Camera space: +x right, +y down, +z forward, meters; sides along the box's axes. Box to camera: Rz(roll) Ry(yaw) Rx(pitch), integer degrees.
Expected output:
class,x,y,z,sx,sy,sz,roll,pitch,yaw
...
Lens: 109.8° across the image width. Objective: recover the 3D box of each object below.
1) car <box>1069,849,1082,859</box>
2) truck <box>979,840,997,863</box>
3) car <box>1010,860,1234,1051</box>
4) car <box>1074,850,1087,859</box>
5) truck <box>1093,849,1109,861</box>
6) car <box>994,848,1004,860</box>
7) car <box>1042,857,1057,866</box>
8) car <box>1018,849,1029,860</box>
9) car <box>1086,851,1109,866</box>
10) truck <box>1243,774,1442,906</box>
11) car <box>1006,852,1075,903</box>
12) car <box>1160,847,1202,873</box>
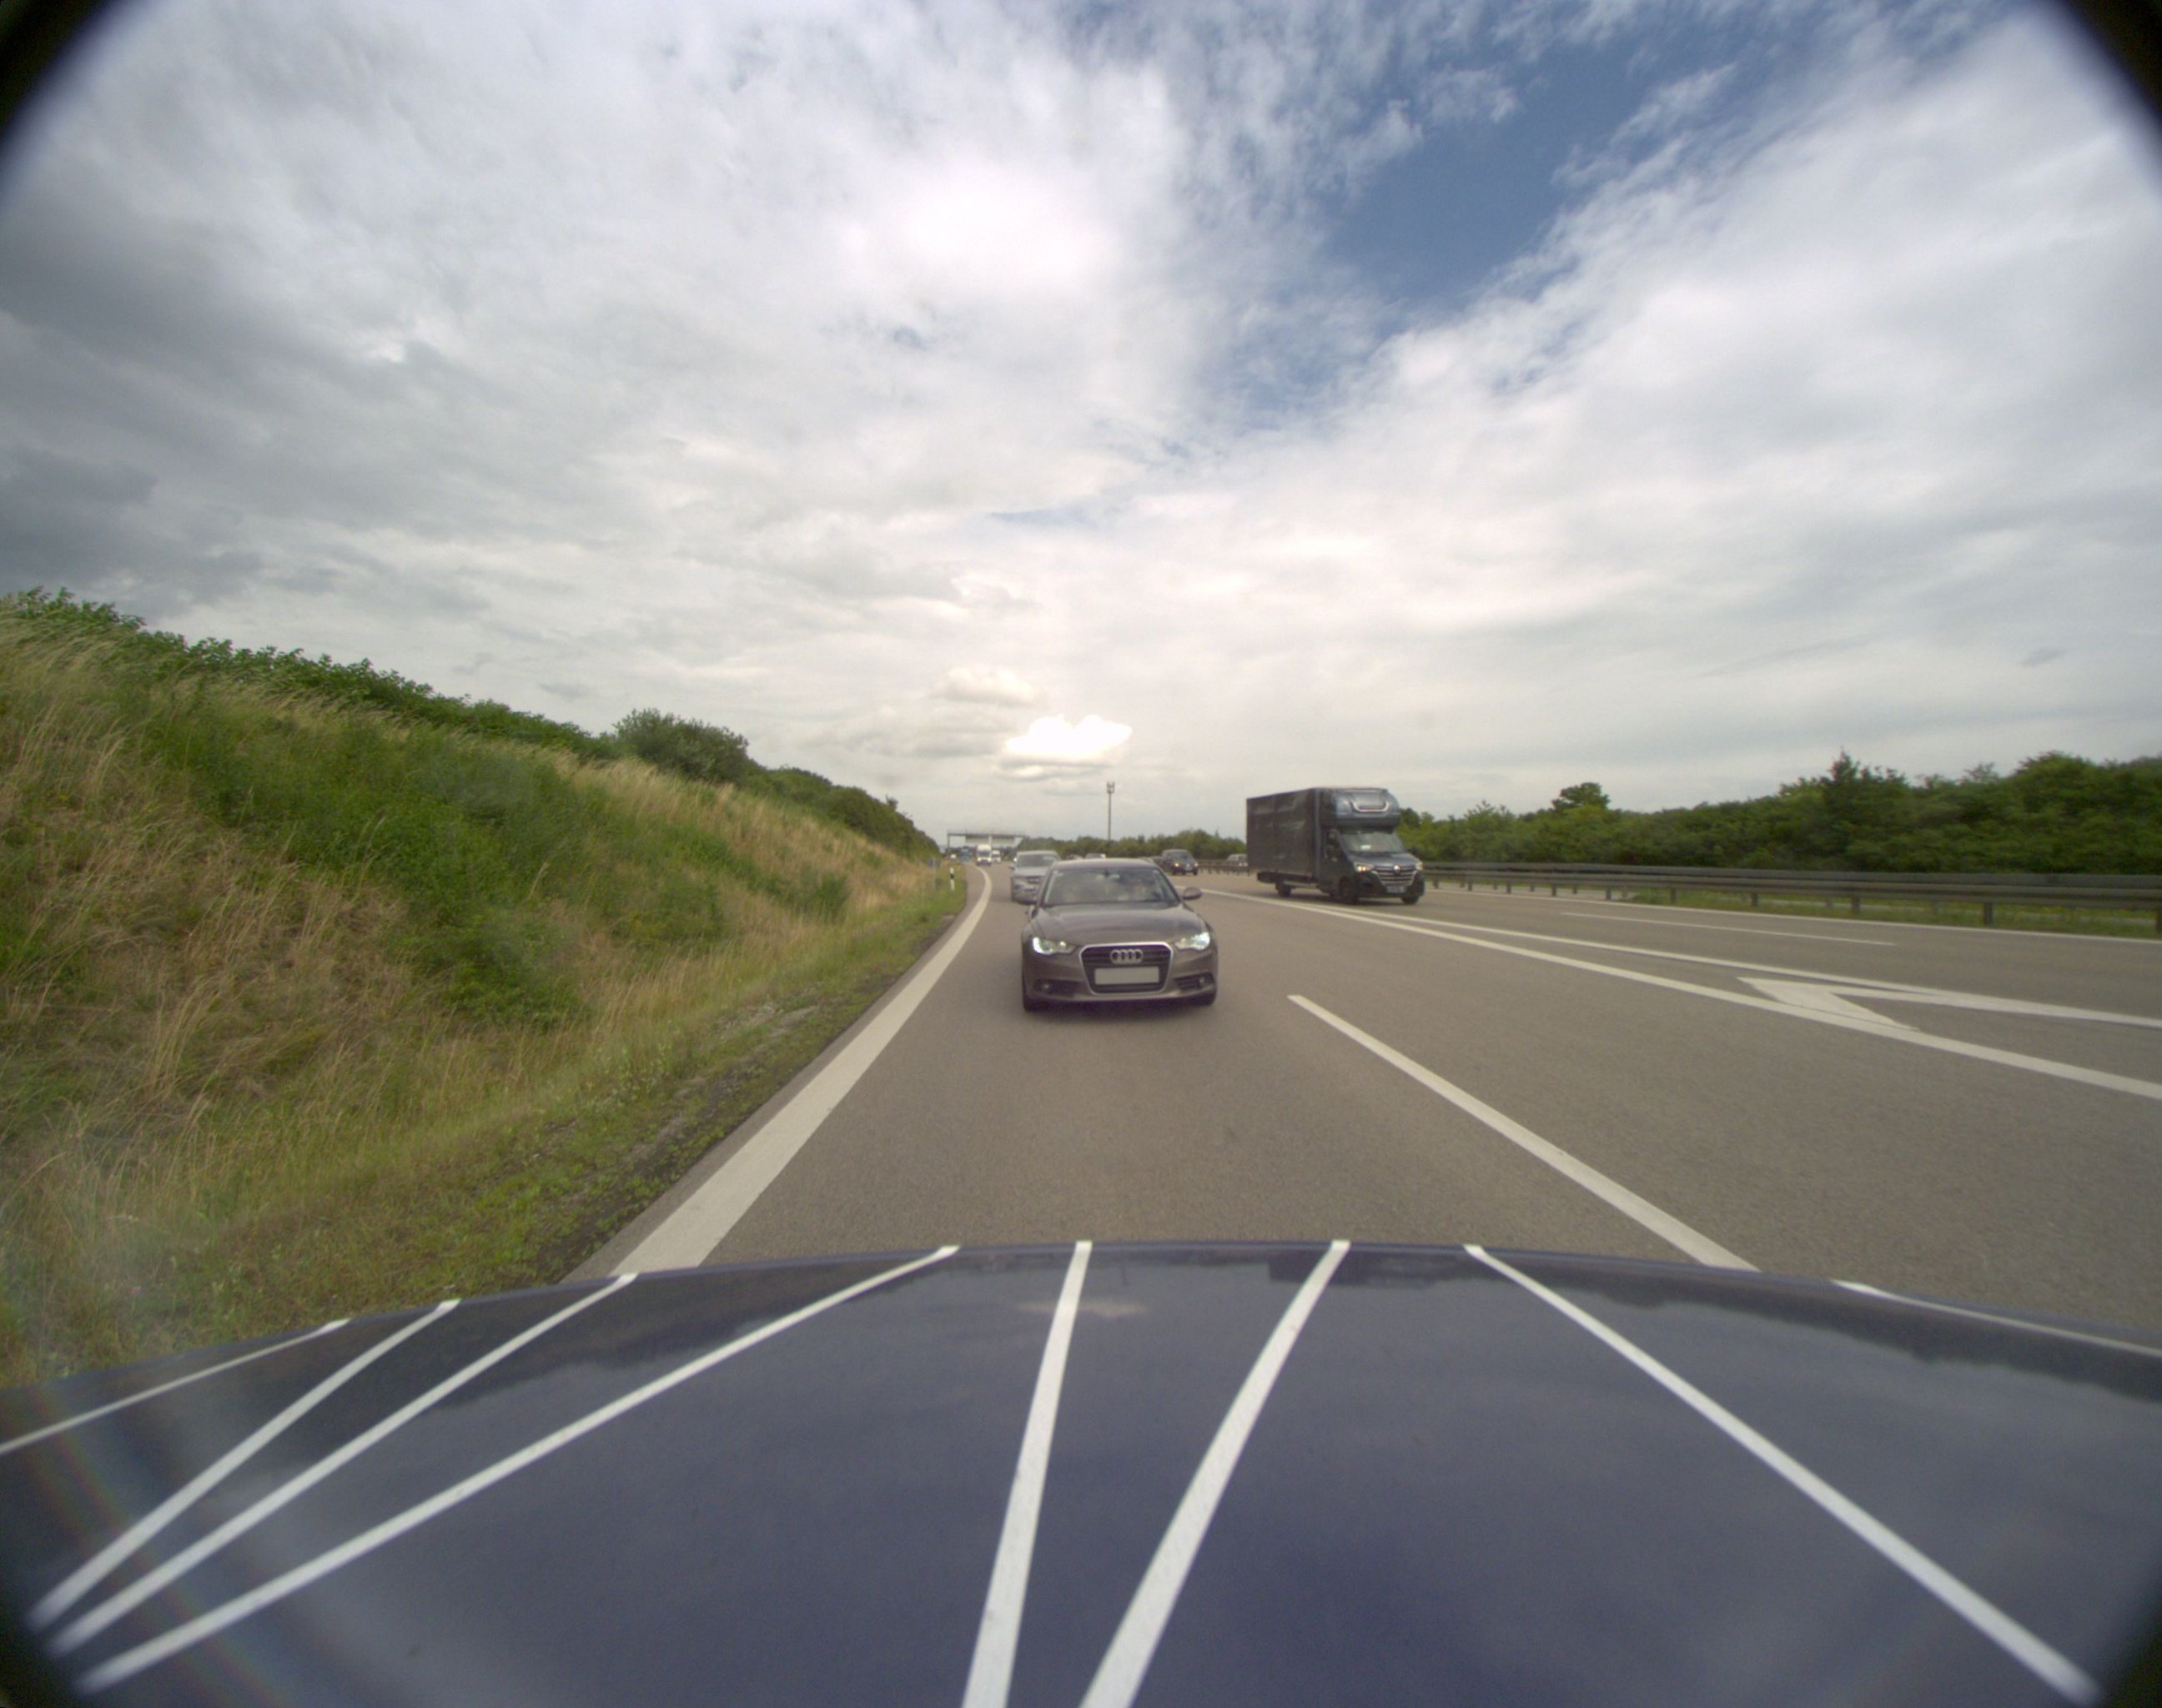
class,x,y,z,sx,sy,sz,roll,pitch,yaw
car,-1.319,-0.053,184.524,2.169,2.317,6.671,-1,0,-9
truck,-13.913,-0.382,113.235,2.450,3.216,7.185,-1,0,-8
car,0.248,0.857,8.374,1.849,1.489,4.027,-1,0,-3
car,-0.161,0.067,177.878,2.169,2.120,4.870,-1,0,-9
truck,3.516,0.130,133.739,2.000,2.002,4.715,-1,0,-8
car,-16.897,-0.036,157.034,1.999,2.381,3.997,-2,1,-6
car,-5.548,1.335,132.557,2.000,1.501,4.774,0,0,-10
car,-10.882,0.044,143.276,1.999,2.002,3.998,-2,1,-4
car,1.913,0.488,88.771,2.000,1.733,4.825,0,0,-8
truck,7.565,-0.308,23.409,2.475,3.351,7.919,-1,-1,-8
car,-1.442,0.722,25.518,2.000,1.567,3.997,-1,0,-7
car,7.039,0.411,53.726,1.851,1.748,4.333,-1,0,-8
